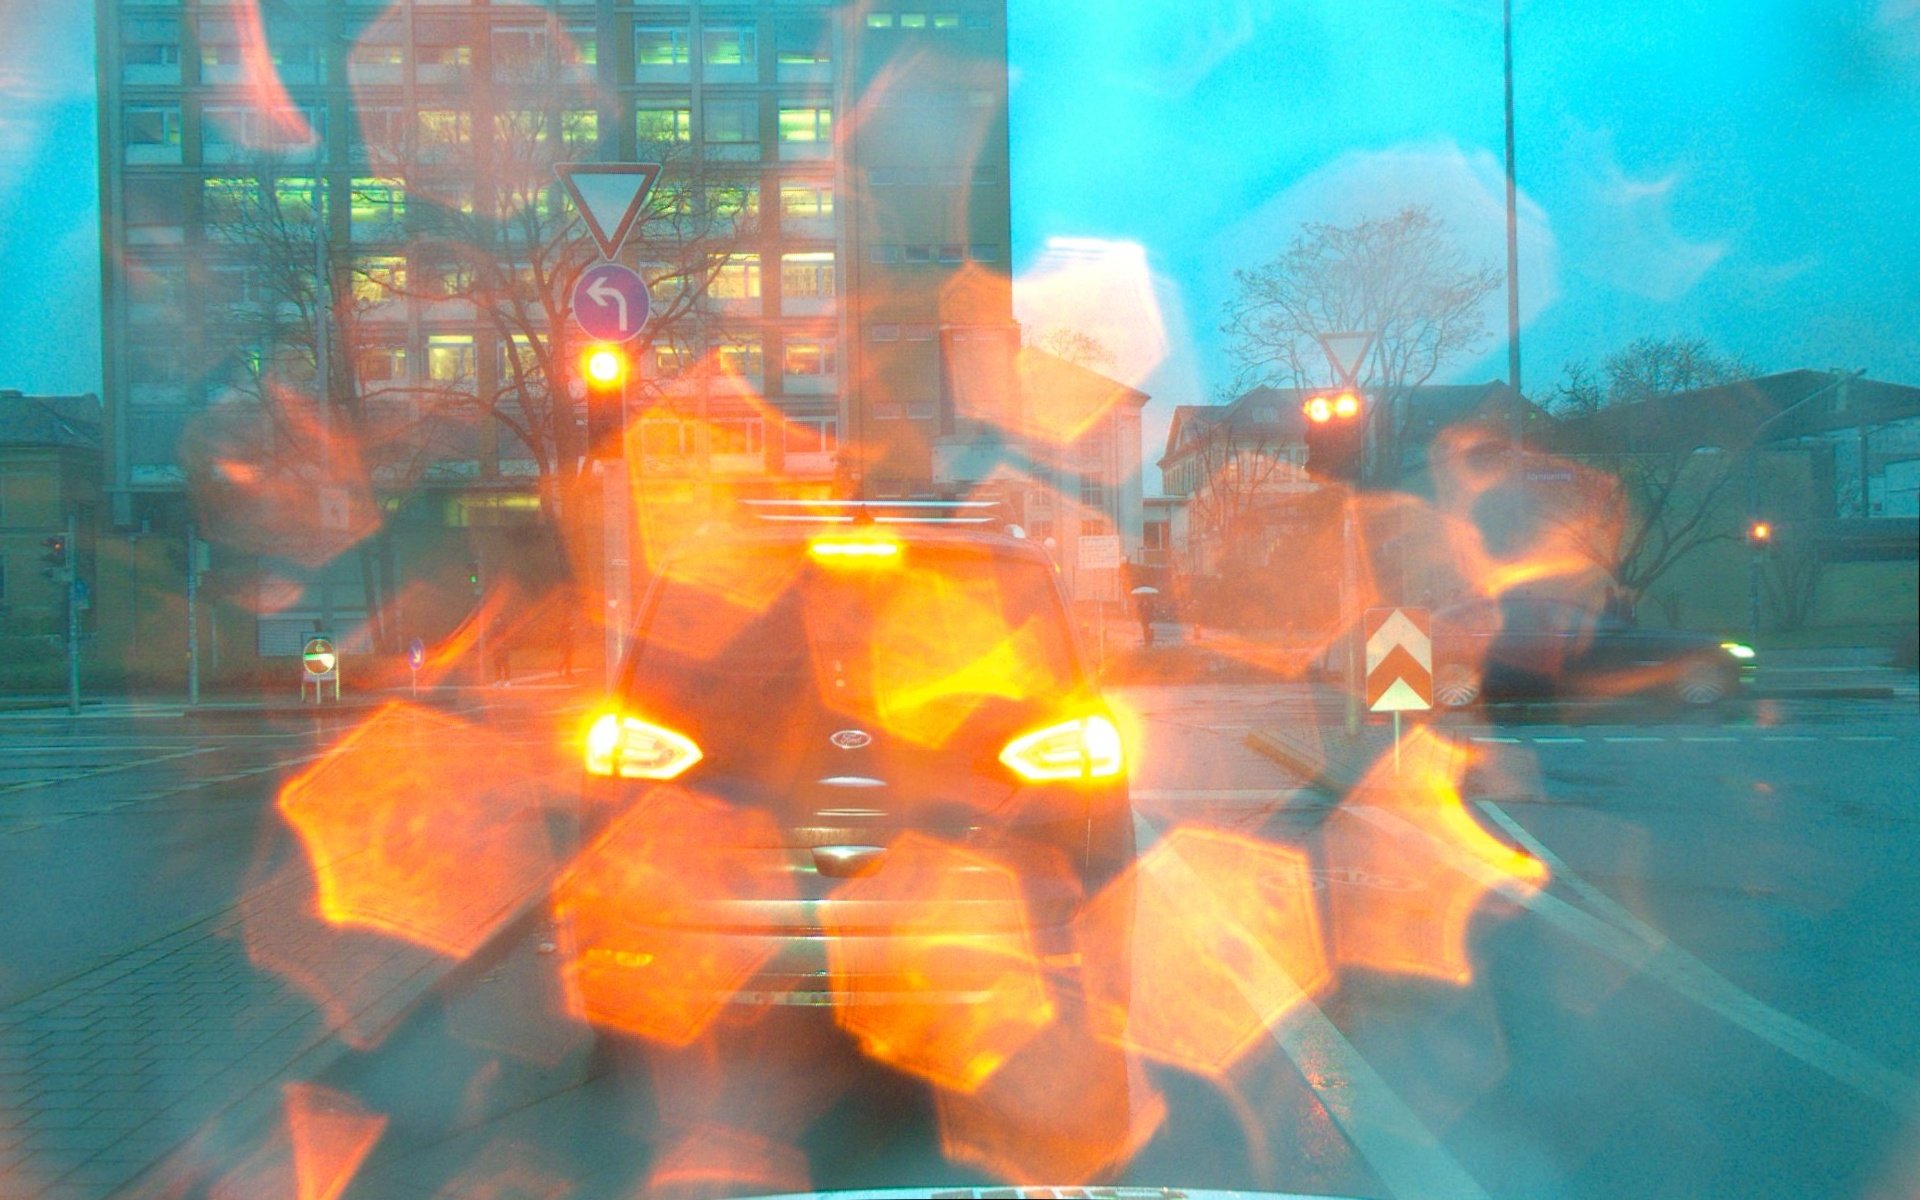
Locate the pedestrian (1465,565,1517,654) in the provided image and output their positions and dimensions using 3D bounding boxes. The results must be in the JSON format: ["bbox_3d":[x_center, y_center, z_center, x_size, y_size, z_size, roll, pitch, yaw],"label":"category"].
[{"bbox_3d":[13.178,0.238,41.068,0.876,2.150,0.884,-2,0,-9],"label":"pedestrian"}]

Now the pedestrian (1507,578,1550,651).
[{"bbox_3d":[14.679,0.377,42.747,0.975,1.831,0.920,-2,0,17],"label":"pedestrian"}]

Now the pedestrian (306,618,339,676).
[{"bbox_3d":[-19.323,1.409,50.124,0.625,1.718,0.637,-2,0,16],"label":"pedestrian"}]

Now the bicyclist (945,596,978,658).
[{"bbox_3d":[0.047,0.718,43.963,0.670,1.627,0.660,-2,0,17],"label":"bicyclist"}]

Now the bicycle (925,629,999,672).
[{"bbox_3d":[0.057,1.345,43.975,1.843,1.066,0.660,-2,0,17],"label":"bicycle"}]

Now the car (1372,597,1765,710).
[{"bbox_3d":[7.930,0.695,21.992,4.584,1.324,1.940,-2,-1,9],"label":"car"}]

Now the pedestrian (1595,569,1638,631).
[{"bbox_3d":[16.847,0.000,42.472,0.874,1.559,0.886,-2,0,14],"label":"pedestrian"}]

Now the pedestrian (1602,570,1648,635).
[{"bbox_3d":[16.580,0.053,41.272,0.905,1.559,1.043,-2,0,16],"label":"pedestrian"}]

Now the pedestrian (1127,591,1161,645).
[{"bbox_3d":[5.771,0.552,51.922,0.708,1.656,0.758,-2,0,41],"label":"pedestrian"}]

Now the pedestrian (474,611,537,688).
[{"bbox_3d":[-11.730,1.266,42.688,0.981,1.874,1.139,-2,3,23],"label":"pedestrian"}]

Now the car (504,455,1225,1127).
[{"bbox_3d":[-0.284,0.537,6.549,1.953,1.821,3.999,1,0,-1],"label":"car"}]

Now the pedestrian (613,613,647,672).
[{"bbox_3d":[-9.466,1.208,47.434,0.743,1.656,0.558,-2,0,12],"label":"pedestrian"}]
